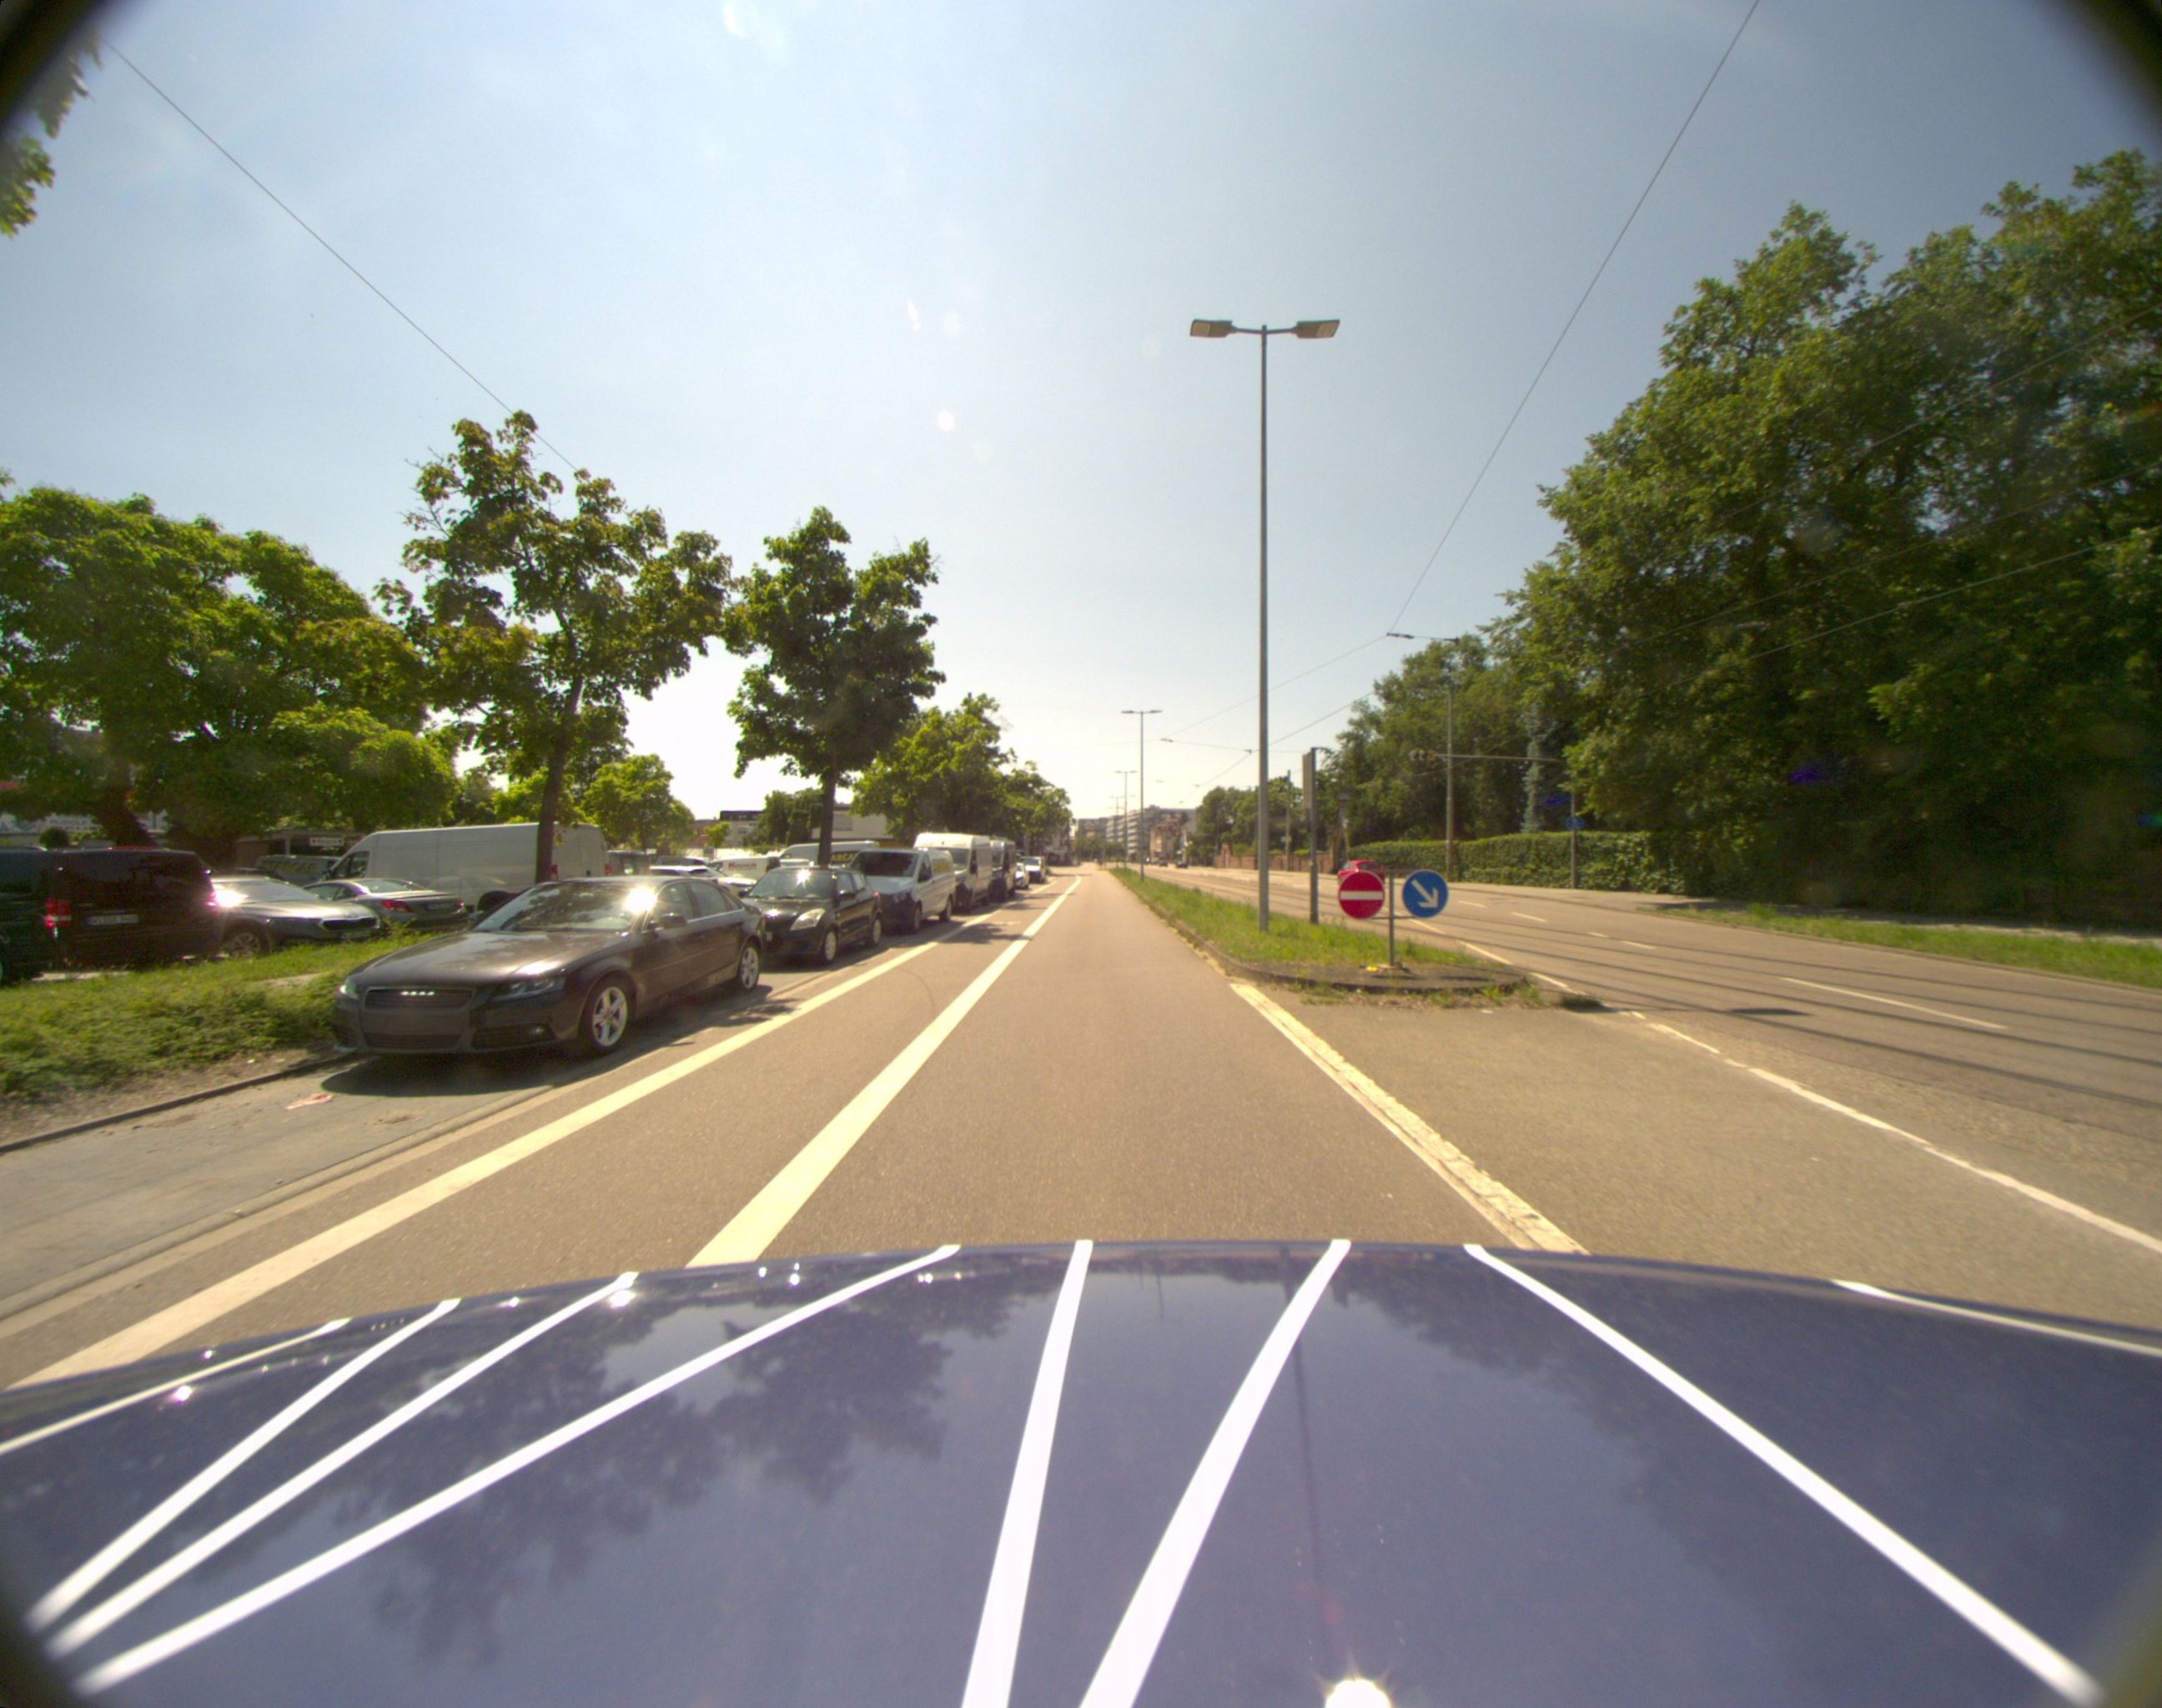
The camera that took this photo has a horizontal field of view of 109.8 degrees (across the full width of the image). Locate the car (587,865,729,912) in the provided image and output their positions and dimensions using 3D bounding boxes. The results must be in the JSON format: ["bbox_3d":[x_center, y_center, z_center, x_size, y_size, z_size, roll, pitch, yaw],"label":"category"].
[{"bbox_3d":[-14.613,1.167,26.411,3.896,1.397,1.727,-2,0,-1],"label":"car"}]

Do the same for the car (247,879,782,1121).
[{"bbox_3d":[-4.691,1.056,7.410,1.717,1.410,4.708,2,0,-1],"label":"car"}]

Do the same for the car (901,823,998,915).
[{"bbox_3d":[-4.193,0.444,25.307,2.002,2.621,6.143,2,0,1],"label":"car"}]

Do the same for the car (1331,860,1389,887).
[{"bbox_3d":[15.610,1.046,42.760,1.711,1.405,4.281,-1,0,0],"label":"car"}]

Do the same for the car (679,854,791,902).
[{"bbox_3d":[-14.620,0.985,32.266,3.790,1.773,1.954,-2,0,-3],"label":"car"}]

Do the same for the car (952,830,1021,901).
[{"bbox_3d":[-3.827,0.447,31.858,2.002,2.621,6.079,2,0,1],"label":"car"}]

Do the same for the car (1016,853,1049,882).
[{"bbox_3d":[-3.437,0.919,54.819,1.884,1.905,5.125,2,0,2],"label":"car"}]

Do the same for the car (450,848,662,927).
[{"bbox_3d":[-14.525,0.891,21.245,4.418,1.898,1.954,-2,0,-3],"label":"car"}]

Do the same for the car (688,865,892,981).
[{"bbox_3d":[-4.597,1.002,12.658,1.716,1.532,3.841,2,0,3],"label":"car"}]

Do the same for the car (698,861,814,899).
[{"bbox_3d":[-14.851,1.165,34.864,4.418,1.496,1.954,-2,0,-2],"label":"car"}]

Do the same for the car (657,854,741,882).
[{"bbox_3d":[-26.857,0.967,53.546,4.929,1.889,1.909,1,0,0],"label":"car"}]

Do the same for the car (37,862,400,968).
[{"bbox_3d":[-14.418,0.966,12.895,4.031,1.482,1.770,-2,0,-1],"label":"car"}]

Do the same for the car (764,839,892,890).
[{"bbox_3d":[-14.198,0.595,42.842,6.355,2.514,2.264,-2,0,4],"label":"car"}]

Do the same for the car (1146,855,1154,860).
[{"bbox_3d":[19.410,0.919,212.437,1.845,1.546,4.465,0,0,0],"label":"car"}]

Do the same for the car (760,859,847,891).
[{"bbox_3d":[-14.548,1.098,40.004,3.896,1.463,1.727,-2,0,-1],"label":"car"}]

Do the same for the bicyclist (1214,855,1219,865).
[{"bbox_3d":[21.503,0.943,120.592,0.654,1.488,0.662,-1,0,-1],"label":"bicyclist"}]

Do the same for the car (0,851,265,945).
[{"bbox_3d":[-27.322,1.198,21.856,5.503,2.445,2.095,1,0,2],"label":"car"}]

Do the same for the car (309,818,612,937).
[{"bbox_3d":[-14.657,0.536,18.190,5.503,2.445,2.095,-2,0,2],"label":"car"}]

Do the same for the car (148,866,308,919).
[{"bbox_3d":[-27.396,1.208,24.465,3.342,1.537,1.682,1,0,3],"label":"car"}]

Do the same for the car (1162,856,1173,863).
[{"bbox_3d":[18.665,1.084,164.980,1.845,1.408,5.034,-3,0,1],"label":"car"}]

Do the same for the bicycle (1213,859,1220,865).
[{"bbox_3d":[21.511,1.300,120.566,0.654,0.951,2.114,-1,0,-1],"label":"bicycle"}]

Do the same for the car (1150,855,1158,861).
[{"bbox_3d":[18.918,1.124,197.143,1.845,1.408,4.711,-3,0,1],"label":"car"}]

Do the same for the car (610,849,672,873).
[{"bbox_3d":[-44.572,0.724,76.978,5.085,2.399,2.000,0,0,1],"label":"car"}]

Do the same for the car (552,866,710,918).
[{"bbox_3d":[-14.199,1.174,24.136,3.897,1.397,1.727,-2,0,-4],"label":"car"}]

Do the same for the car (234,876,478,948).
[{"bbox_3d":[-14.632,1.144,15.464,3.342,1.182,1.682,-2,0,2],"label":"car"}]

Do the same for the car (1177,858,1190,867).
[{"bbox_3d":[17.775,1.408,131.557,1.760,1.440,4.124,-2,0,3],"label":"car"}]

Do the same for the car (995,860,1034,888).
[{"bbox_3d":[-3.754,1.107,43.281,1.726,1.419,4.209,2,0,1],"label":"car"}]

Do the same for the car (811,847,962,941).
[{"bbox_3d":[-4.409,0.834,18.227,2.002,1.867,5.277,2,0,3],"label":"car"}]

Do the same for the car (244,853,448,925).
[{"bbox_3d":[-26.781,1.228,27.815,5.503,2.445,2.095,1,0,2],"label":"car"}]

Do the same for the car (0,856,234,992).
[{"bbox_3d":[-14.991,0.950,10.363,4.703,1.635,1.954,-2,0,2],"label":"car"}]

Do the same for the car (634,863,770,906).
[{"bbox_3d":[-14.443,1.147,29.130,4.287,1.397,1.727,-2,0,-1],"label":"car"}]

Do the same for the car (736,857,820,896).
[{"bbox_3d":[-14.947,1.087,37.572,3.380,1.707,1.728,-2,0,1],"label":"car"}]
